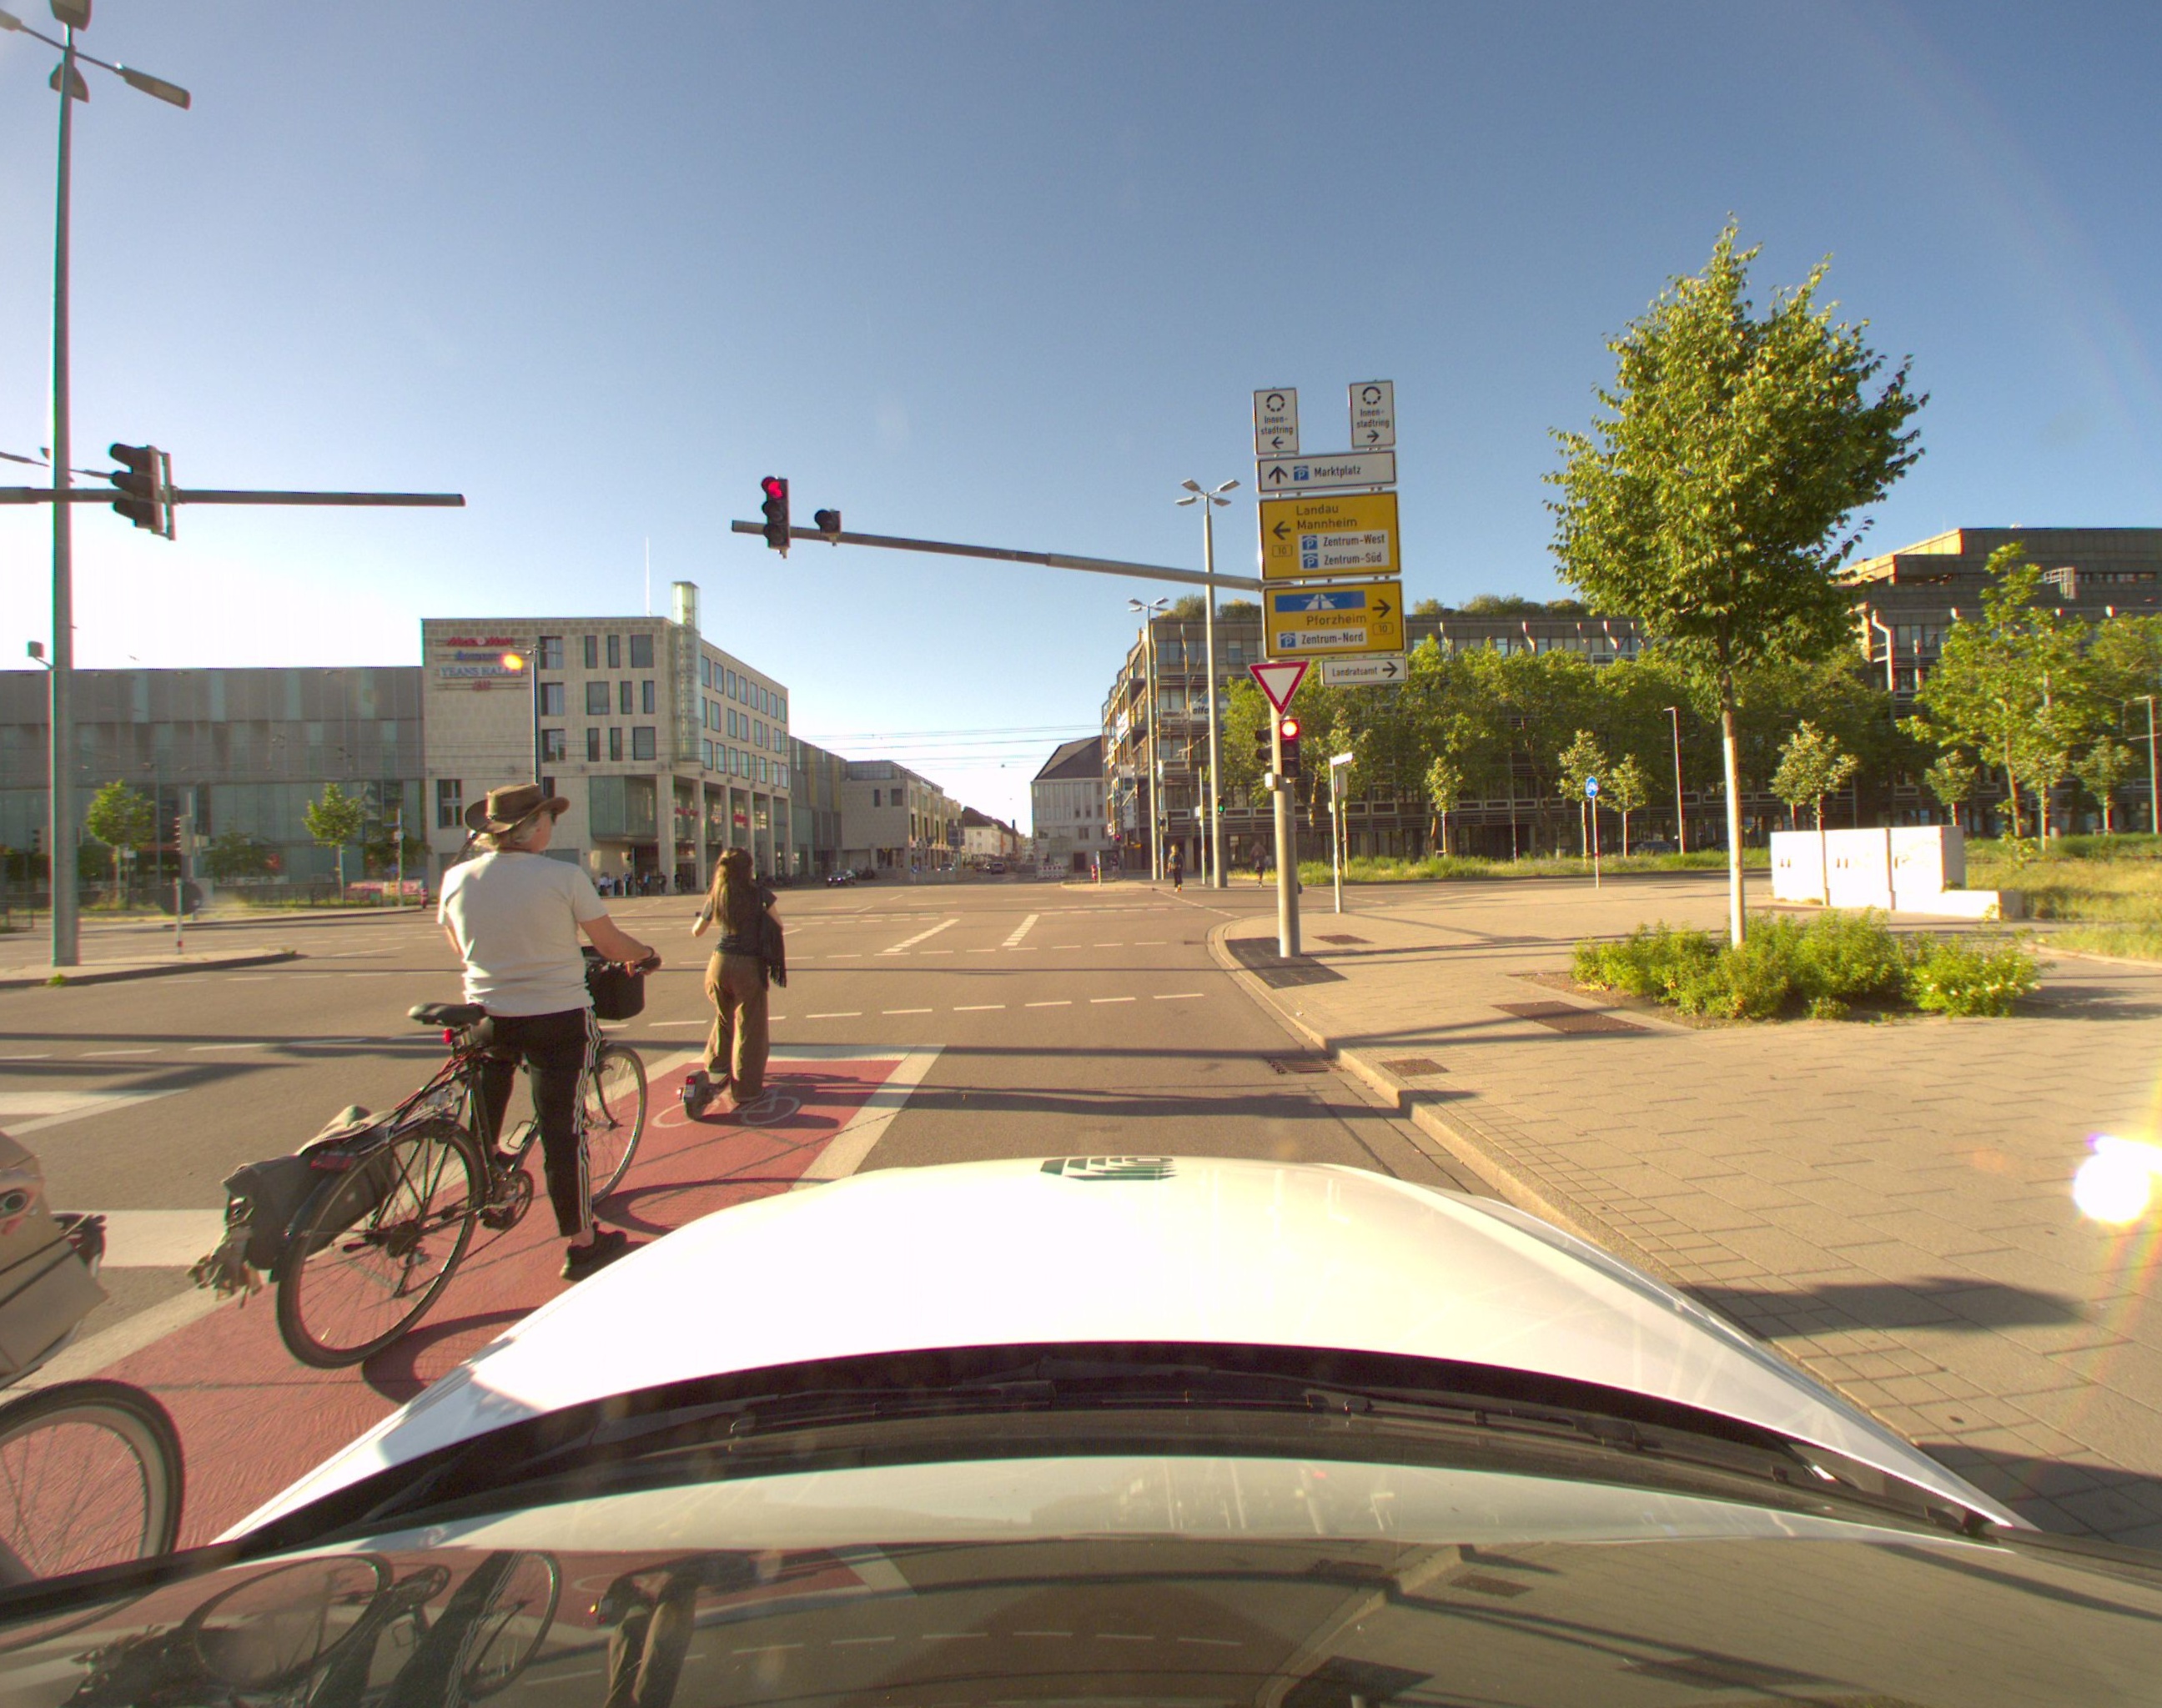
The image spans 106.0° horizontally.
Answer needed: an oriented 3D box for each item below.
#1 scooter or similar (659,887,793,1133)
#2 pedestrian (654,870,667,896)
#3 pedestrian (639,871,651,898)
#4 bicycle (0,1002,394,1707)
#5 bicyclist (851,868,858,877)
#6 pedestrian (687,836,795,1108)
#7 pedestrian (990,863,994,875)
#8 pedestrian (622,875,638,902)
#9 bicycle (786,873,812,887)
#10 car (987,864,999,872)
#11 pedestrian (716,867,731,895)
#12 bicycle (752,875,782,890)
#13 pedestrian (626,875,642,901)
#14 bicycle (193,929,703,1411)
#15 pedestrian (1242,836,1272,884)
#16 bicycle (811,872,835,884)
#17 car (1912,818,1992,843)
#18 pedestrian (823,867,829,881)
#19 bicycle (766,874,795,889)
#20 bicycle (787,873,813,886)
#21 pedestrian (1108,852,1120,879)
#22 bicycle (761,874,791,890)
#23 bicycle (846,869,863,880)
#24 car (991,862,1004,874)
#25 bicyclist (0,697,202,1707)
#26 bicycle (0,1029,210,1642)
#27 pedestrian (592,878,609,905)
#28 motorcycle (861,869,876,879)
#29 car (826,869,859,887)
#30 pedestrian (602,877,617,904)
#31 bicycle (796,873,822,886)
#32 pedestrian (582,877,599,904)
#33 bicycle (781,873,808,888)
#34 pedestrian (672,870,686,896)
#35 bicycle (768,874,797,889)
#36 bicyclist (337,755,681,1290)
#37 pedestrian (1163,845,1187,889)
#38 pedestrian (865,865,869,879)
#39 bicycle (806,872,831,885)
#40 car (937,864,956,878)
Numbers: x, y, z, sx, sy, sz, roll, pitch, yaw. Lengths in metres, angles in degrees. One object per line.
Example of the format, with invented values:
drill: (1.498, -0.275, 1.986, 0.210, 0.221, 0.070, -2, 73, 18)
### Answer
scooter or similar: (-2.160, 0.872, 5.075, 0.547, 1.294, 1.188, 0, -1, -13)
pedestrian: (-30.792, 2.123, 59.668, 0.800, 1.843, 0.856, -2, 0, -26)
pedestrian: (-31.182, 2.155, 58.224, 0.718, 1.885, 0.781, 0, -1, -25)
bicycle: (-1.676, 0.909, 0.708, 0.614, 1.218, 1.831, 0, 0, -1)
bicyclist: (-26.485, 2.155, 95.360, 0.505, 1.084, 0.629, 0, 0, 43)
pedestrian: (-2.166, 0.707, 5.244, 0.549, 1.633, 0.569, 0, -1, -13)
pedestrian: (-12.811, 2.135, 117.438, 0.520, 1.679, 0.582, 0, 0, -5)
pedestrian: (-31.946, 2.455, 57.694, 0.783, 1.885, 0.716, 0, -1, -4)
bicycle: (-27.061, 2.490, 78.133, 2.299, 1.222, 0.612, -2, -1, -1)
car: (-16.743, 2.650, 155.012, 1.793, 1.657, 3.997, 0, -1, -2)
pedestrian: (-26.779, 2.022, 60.994, 0.883, 2.014, 0.771, 0, -1, -9)
bicycle: (-26.733, 2.414, 69.376, 2.299, 1.222, 0.612, -2, -1, -1)
pedestrian: (-32.512, 2.472, 59.246, 0.783, 1.885, 0.716, 0, -1, -4)
bicycle: (-2.151, 0.944, 3.138, 0.483, 1.156, 1.832, 0, -1, 2)
pedestrian: (6.336, 0.217, 29.340, 0.875, 1.665, 0.965, 0, -1, 1)
bicycle: (-27.421, 2.564, 86.649, 2.299, 1.222, 0.612, -2, -1, -1)
car: (59.431, -1.578, 55.592, 3.984, 1.342, 1.631, -4, -1, -7)
pedestrian: (-31.076, 2.396, 99.335, 0.570, 1.679, 0.614, 0, 0, -8)
bicycle: (-26.564, 2.435, 72.013, 2.299, 1.222, 0.612, -2, -1, -1)
bicycle: (-27.627, 2.511, 80.128, 2.299, 1.222, 0.612, -2, -1, -1)
pedestrian: (2.325, 0.822, 57.413, 0.785, 1.890, 0.644, 0, -1, 1)
bicycle: (-26.461, 2.423, 70.653, 2.299, 1.222, 0.612, -2, -1, -1)
bicycle: (-26.517, 2.356, 95.343, 1.821, 1.206, 0.505, -1, 0, -44)
car: (-11.134, 1.872, 108.656, 1.735, 1.531, 3.848, 0, -1, -5)
bicyclist: (-1.684, 0.593, 0.821, 0.639, 1.579, 0.875, 0, 0, -1)
bicycle: (-2.426, 0.983, 0.980, 0.645, 1.109, 1.970, 0, 0, -1)
pedestrian: (-33.868, 2.617, 57.375, 0.783, 1.885, 0.716, 0, -1, -4)
motorcycle: (-25.778, 2.441, 98.741, 1.807, 1.206, 0.509, 0, 0, -14)
car: (-20.623, 2.058, 70.509, 1.625, 1.342, 3.999, -4, -1, 0)
pedestrian: (-33.991, 2.629, 58.722, 0.714, 1.885, 0.786, 0, -1, -6)
bicycle: (-27.183, 2.518, 81.345, 2.299, 1.222, 0.612, -2, -1, -1)
pedestrian: (-35.170, 2.615, 58.359, 0.783, 1.885, 0.716, 0, -1, -4)
bicycle: (-26.695, 2.469, 75.965, 2.299, 1.222, 0.612, -2, -1, -1)
pedestrian: (-29.105, 2.071, 58.942, 0.801, 1.843, 0.855, -2, 0, -30)
bicycle: (-26.739, 2.443, 72.898, 2.299, 1.222, 0.612, -2, -1, -1)
bicyclist: (-2.059, 0.545, 3.061, 0.658, 1.720, 0.866, 0, -1, 1)
pedestrian: (3.216, 0.454, 27.926, 0.785, 1.492, 0.644, 0, -1, 1)
pedestrian: (-26.099, 2.202, 99.357, 0.521, 1.679, 0.580, 0, 0, -12)
bicycle: (-27.586, 2.556, 85.583, 2.299, 1.222, 0.612, -2, -1, -1)
car: (-16.341, 2.078, 99.050, 1.793, 1.657, 3.997, 0, -1, -2)
